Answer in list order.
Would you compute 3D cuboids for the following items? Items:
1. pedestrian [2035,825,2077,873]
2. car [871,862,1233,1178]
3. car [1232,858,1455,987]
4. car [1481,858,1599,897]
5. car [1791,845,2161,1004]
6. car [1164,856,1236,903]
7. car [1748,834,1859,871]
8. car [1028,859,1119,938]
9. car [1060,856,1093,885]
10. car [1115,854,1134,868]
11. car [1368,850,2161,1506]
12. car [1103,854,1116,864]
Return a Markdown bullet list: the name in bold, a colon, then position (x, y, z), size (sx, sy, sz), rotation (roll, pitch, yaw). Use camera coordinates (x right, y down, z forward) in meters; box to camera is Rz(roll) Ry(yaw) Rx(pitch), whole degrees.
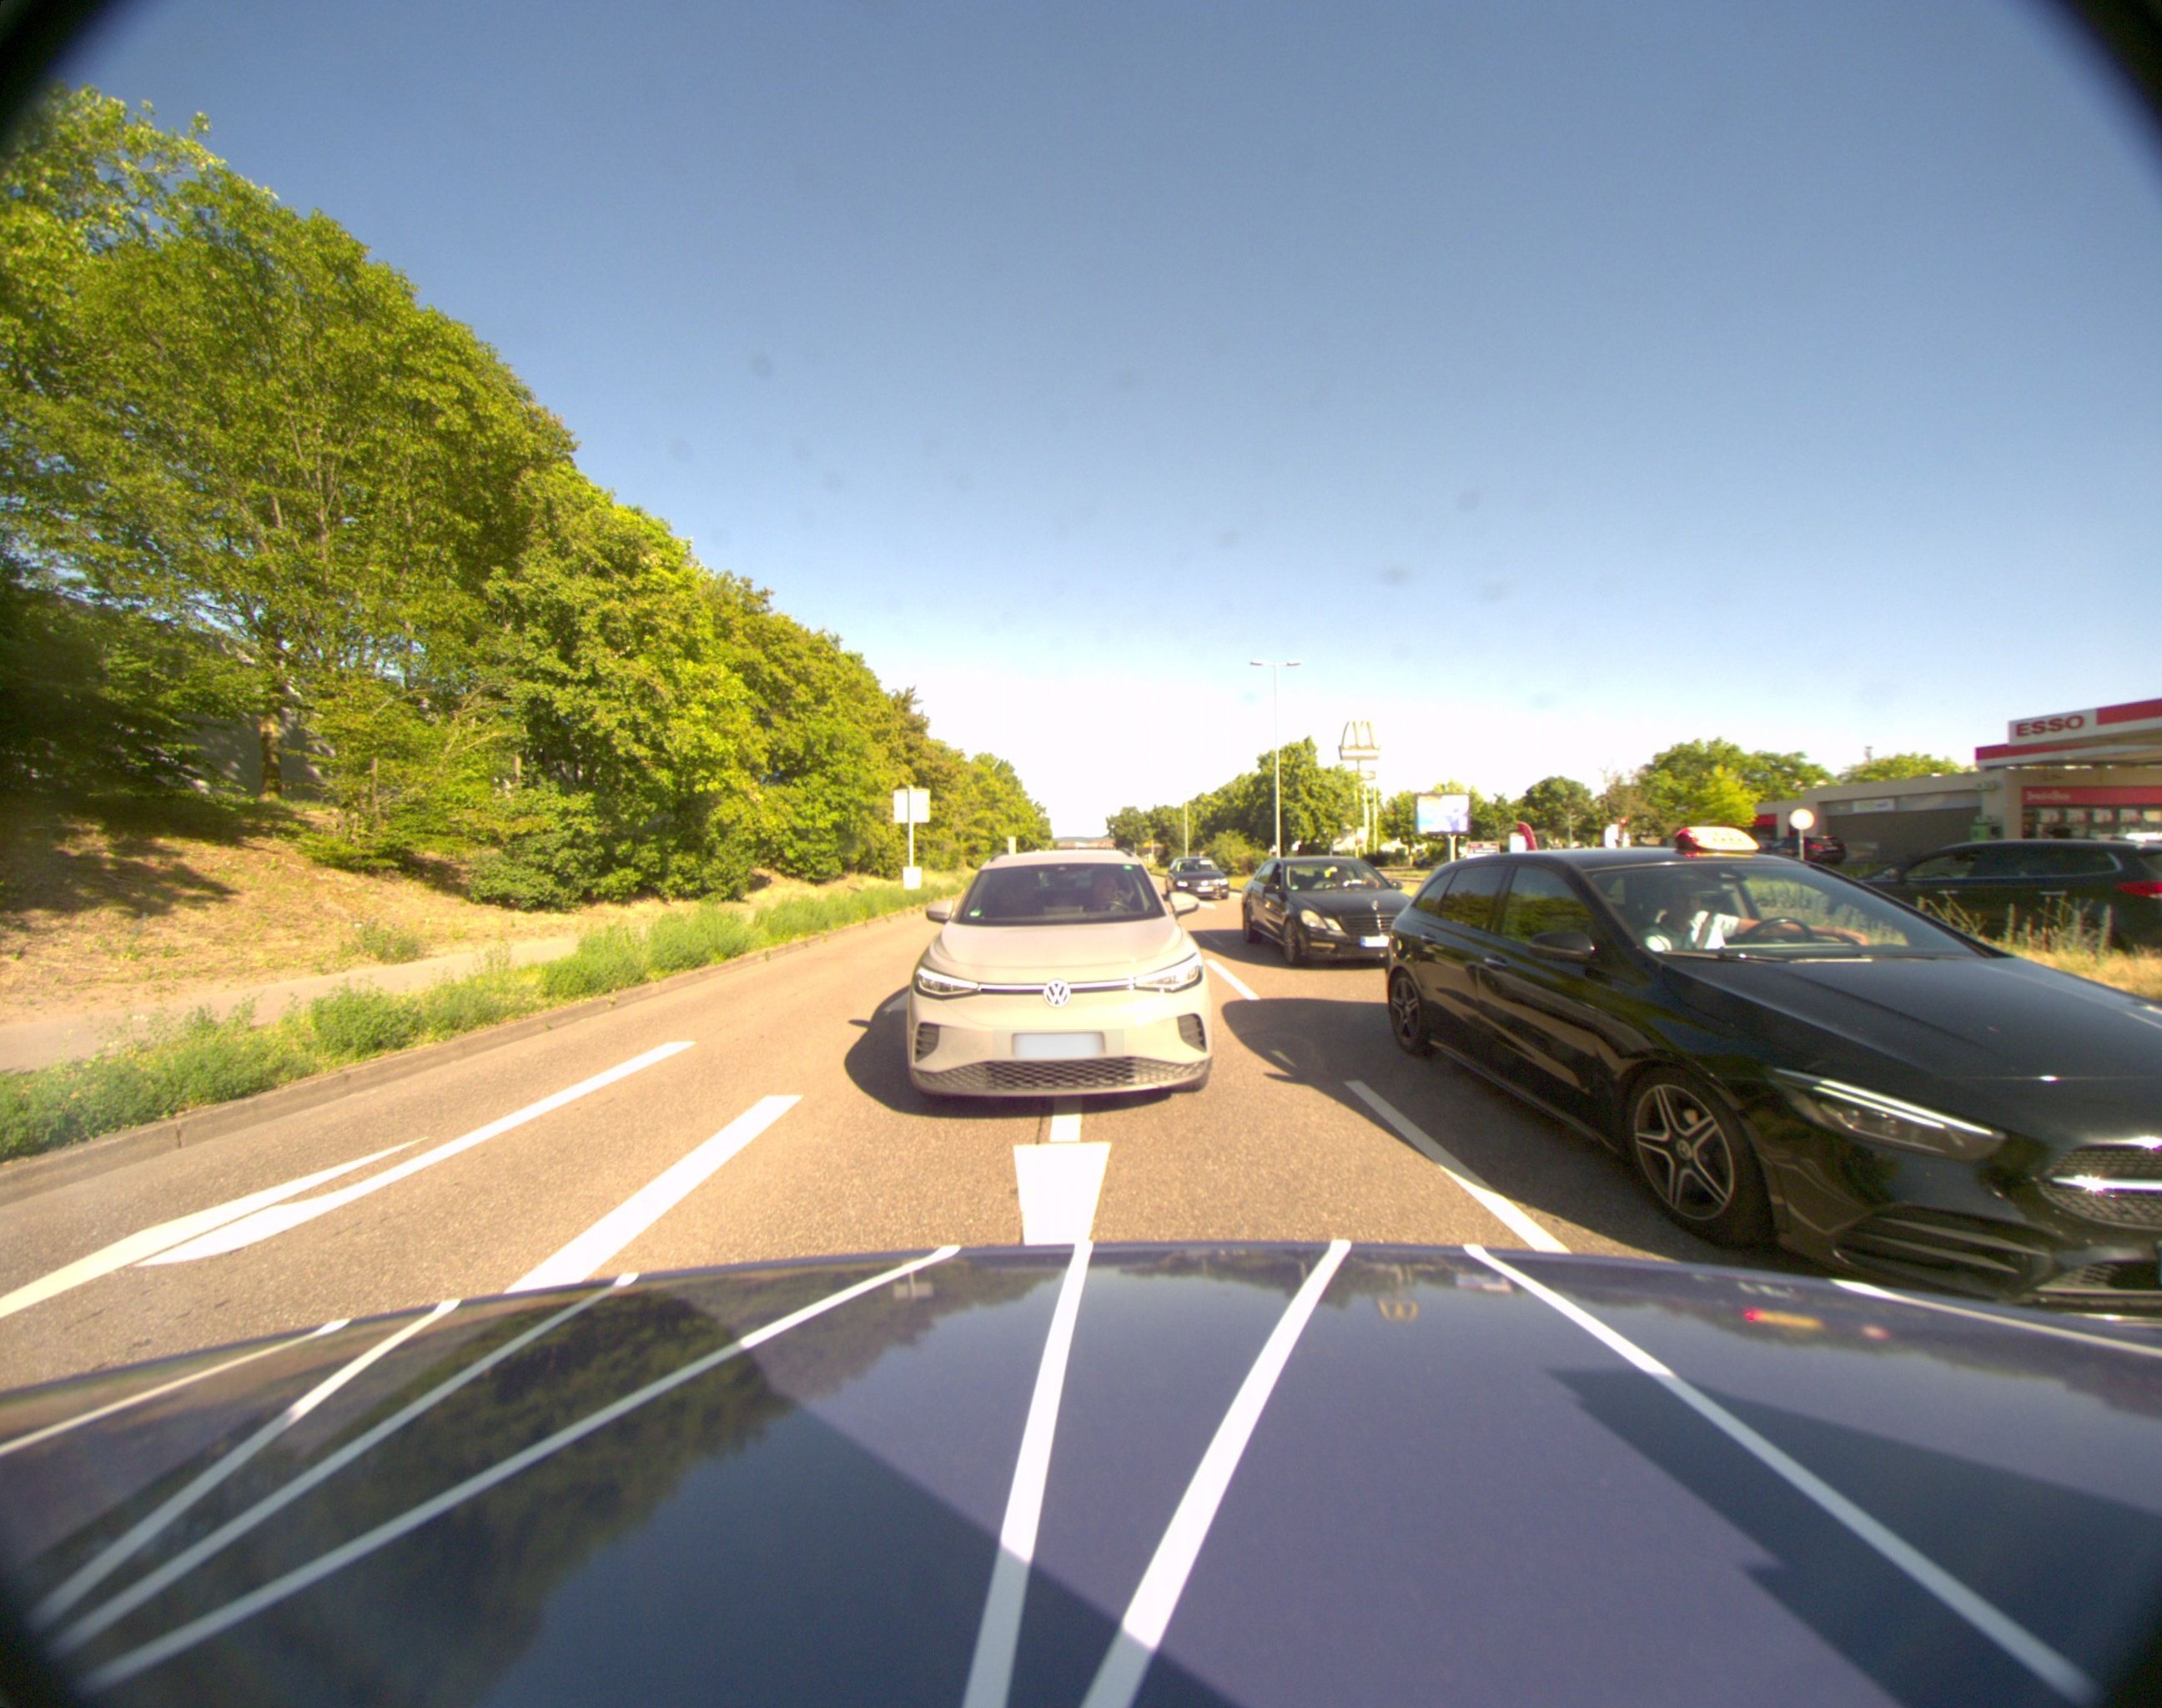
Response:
- **pedestrian**: position (41.443, -0.226, 32.299), size (0.703, 2.002, 0.840), rotation (-1, 0, 1)
- **car**: position (-0.125, 0.901, 5.988), size (1.871, 1.588, 3.932), rotation (-2, 0, 1)
- **car**: position (3.638, 0.852, 11.460), size (1.862, 1.515, 4.403), rotation (-1, 0, 1)
- **car**: position (19.118, 0.912, 31.934), size (1.909, 1.437, 4.605), rotation (1, 0, -4)
- **car**: position (12.507, 0.751, 10.149), size (1.884, 1.680, 4.436), rotation (-1, 0, 0)
- **car**: position (4.091, 0.829, 26.777), size (1.862, 1.472, 4.403), rotation (-1, 0, 1)
- **car**: position (37.698, -0.088, 39.813), size (1.998, 1.759, 4.118), rotation (-2, 0, 2)
- **car**: position (-0.121, 0.900, 16.963), size (1.765, 1.503, 3.760), rotation (-2, 0, 1)
- **car**: position (-0.222, 0.903, 43.033), size (1.765, 1.503, 3.760), rotation (-2, 0, 1)
- **car**: position (4.902, 0.757, 85.916), size (1.862, 1.578, 4.403), rotation (-1, 0, 1)
- **car**: position (3.157, 0.811, 3.972), size (1.804, 1.616, 4.188), rotation (-1, 0, 2)
- **car**: position (4.361, 0.784, 117.899), size (1.862, 1.578, 4.403), rotation (-1, 0, 1)
